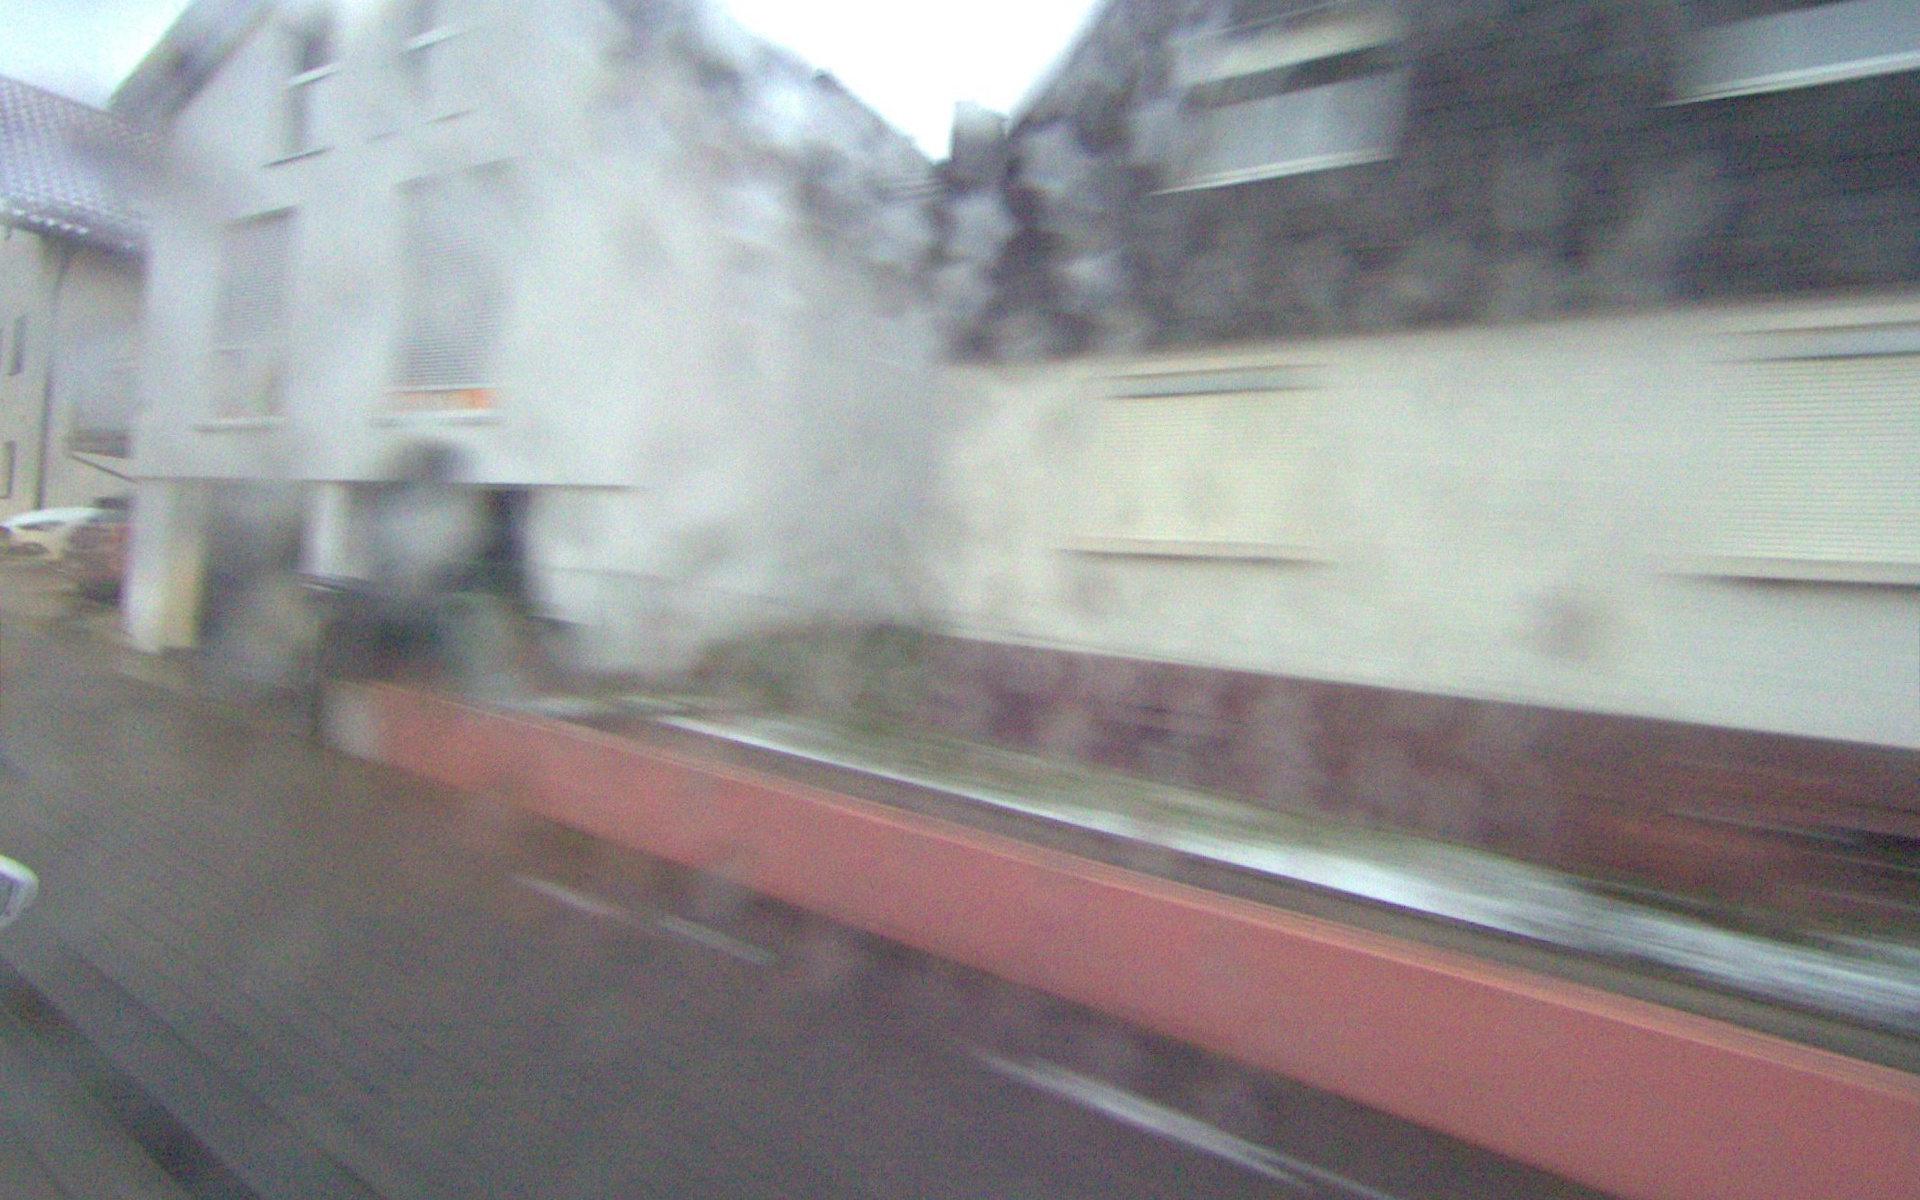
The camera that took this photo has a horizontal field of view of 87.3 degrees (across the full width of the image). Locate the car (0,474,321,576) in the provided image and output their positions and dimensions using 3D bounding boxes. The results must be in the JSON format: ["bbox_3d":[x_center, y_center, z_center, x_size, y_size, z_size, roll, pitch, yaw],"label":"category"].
[{"bbox_3d":[-13.556,-1.314,17.015,1.751,1.479,4.267,7,8,35],"label":"car"}]

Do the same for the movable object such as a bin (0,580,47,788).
[{"bbox_3d":[-4.878,0.397,4.834,0.585,0.959,0.613,6,4,35],"label":"movable object such as a bin"}]

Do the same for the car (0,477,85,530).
[{"bbox_3d":[-31.553,-3.305,32.714,1.973,1.463,4.491,8,2,44],"label":"car"}]

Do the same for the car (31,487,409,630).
[{"bbox_3d":[-10.495,-0.506,14.599,1.661,1.474,3.995,7,-1,29],"label":"car"}]
